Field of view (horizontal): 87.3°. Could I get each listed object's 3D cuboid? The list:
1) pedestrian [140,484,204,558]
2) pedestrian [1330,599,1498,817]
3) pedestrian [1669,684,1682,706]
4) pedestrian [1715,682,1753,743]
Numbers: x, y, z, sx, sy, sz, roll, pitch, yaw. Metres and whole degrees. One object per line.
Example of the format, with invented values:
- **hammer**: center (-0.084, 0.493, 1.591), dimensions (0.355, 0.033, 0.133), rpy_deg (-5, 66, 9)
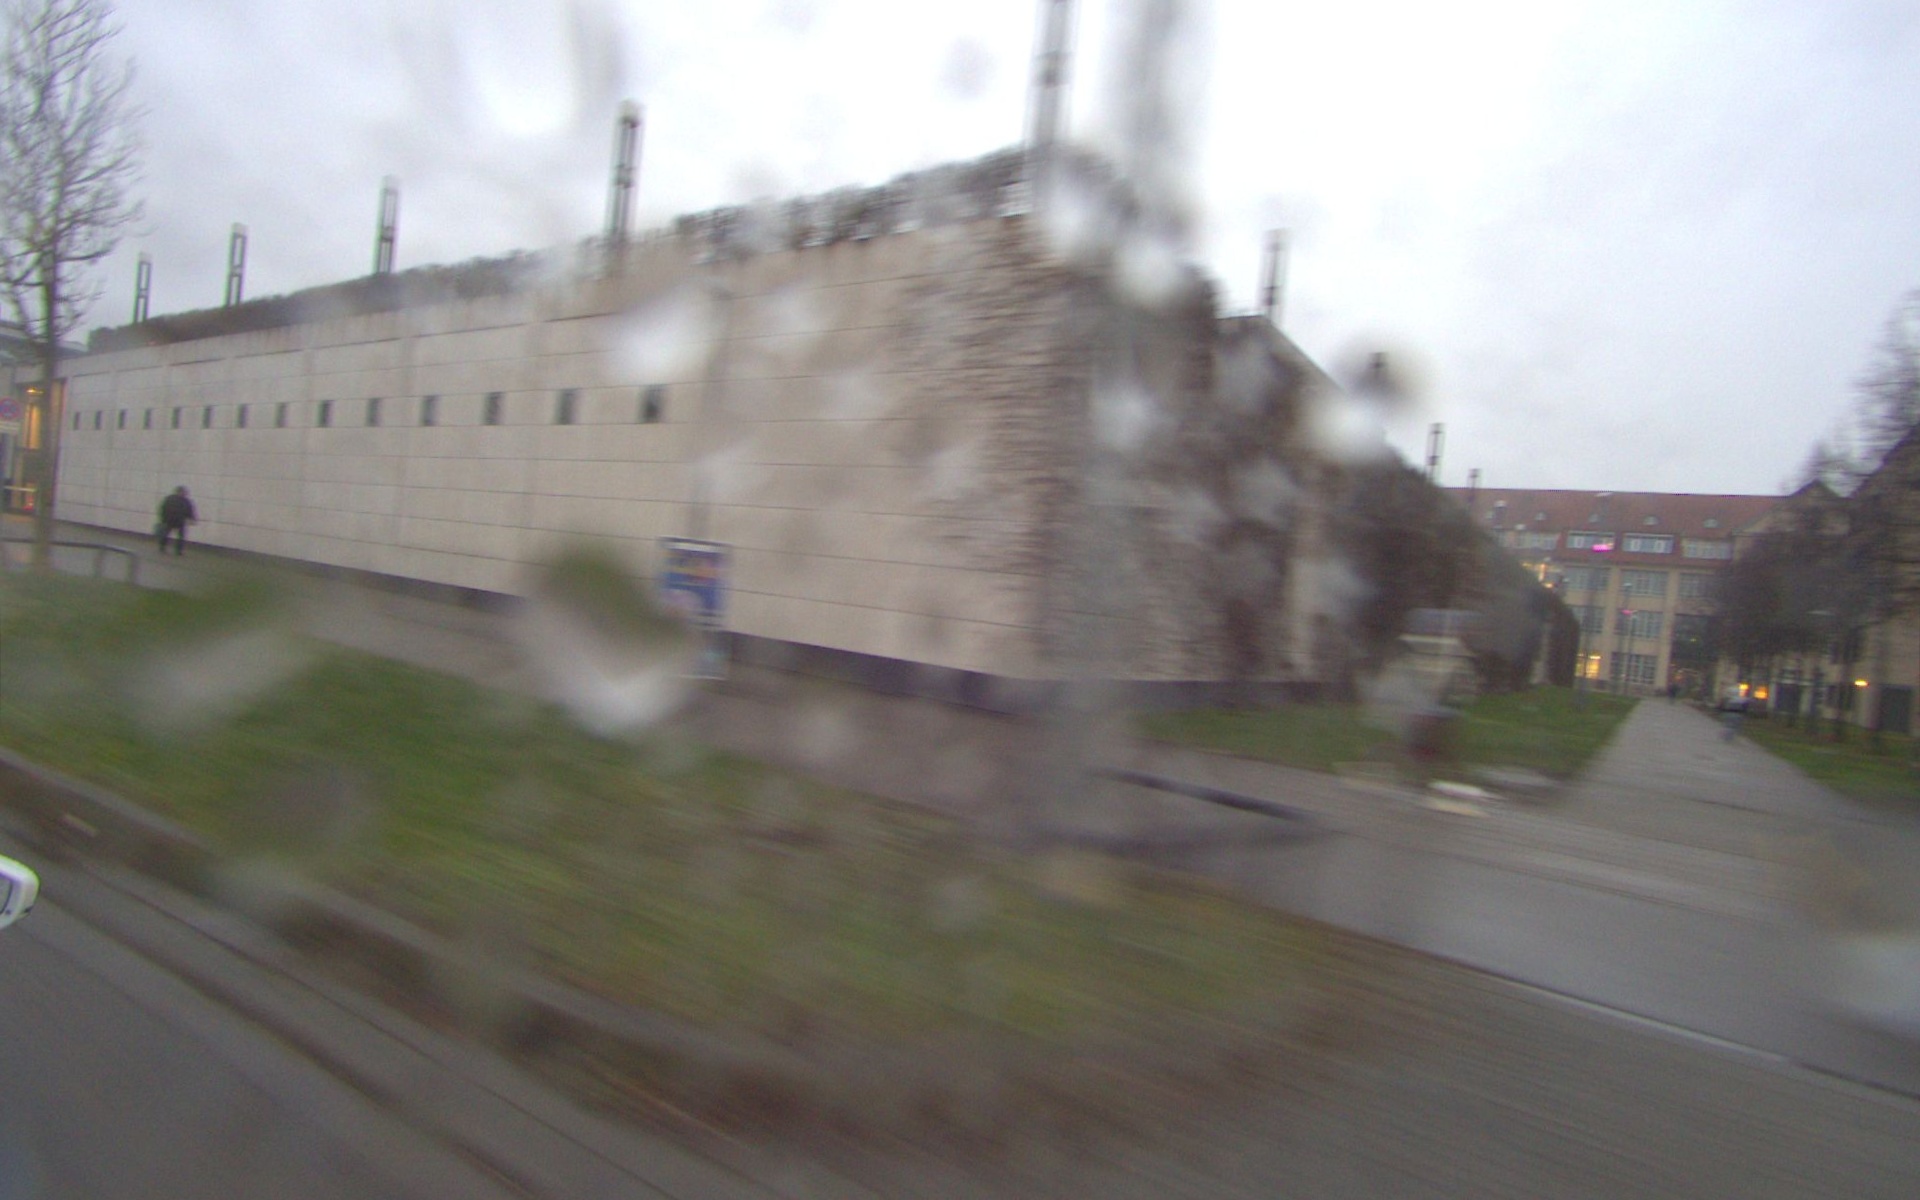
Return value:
- **pedestrian**: center (-18.954, -1.890, 24.216), dimensions (0.683, 1.639, 0.938), rpy_deg (7, 2, 32)
- **pedestrian**: center (3.816, 0.871, 8.461), dimensions (1.049, 1.631, 0.621), rpy_deg (7, 1, 32)
- **pedestrian**: center (57.392, 7.584, 80.706), dimensions (0.722, 1.657, 0.710), rpy_deg (7, 1, 36)
- **pedestrian**: center (22.682, 3.281, 29.491), dimensions (0.722, 1.657, 0.710), rpy_deg (7, 1, 38)
